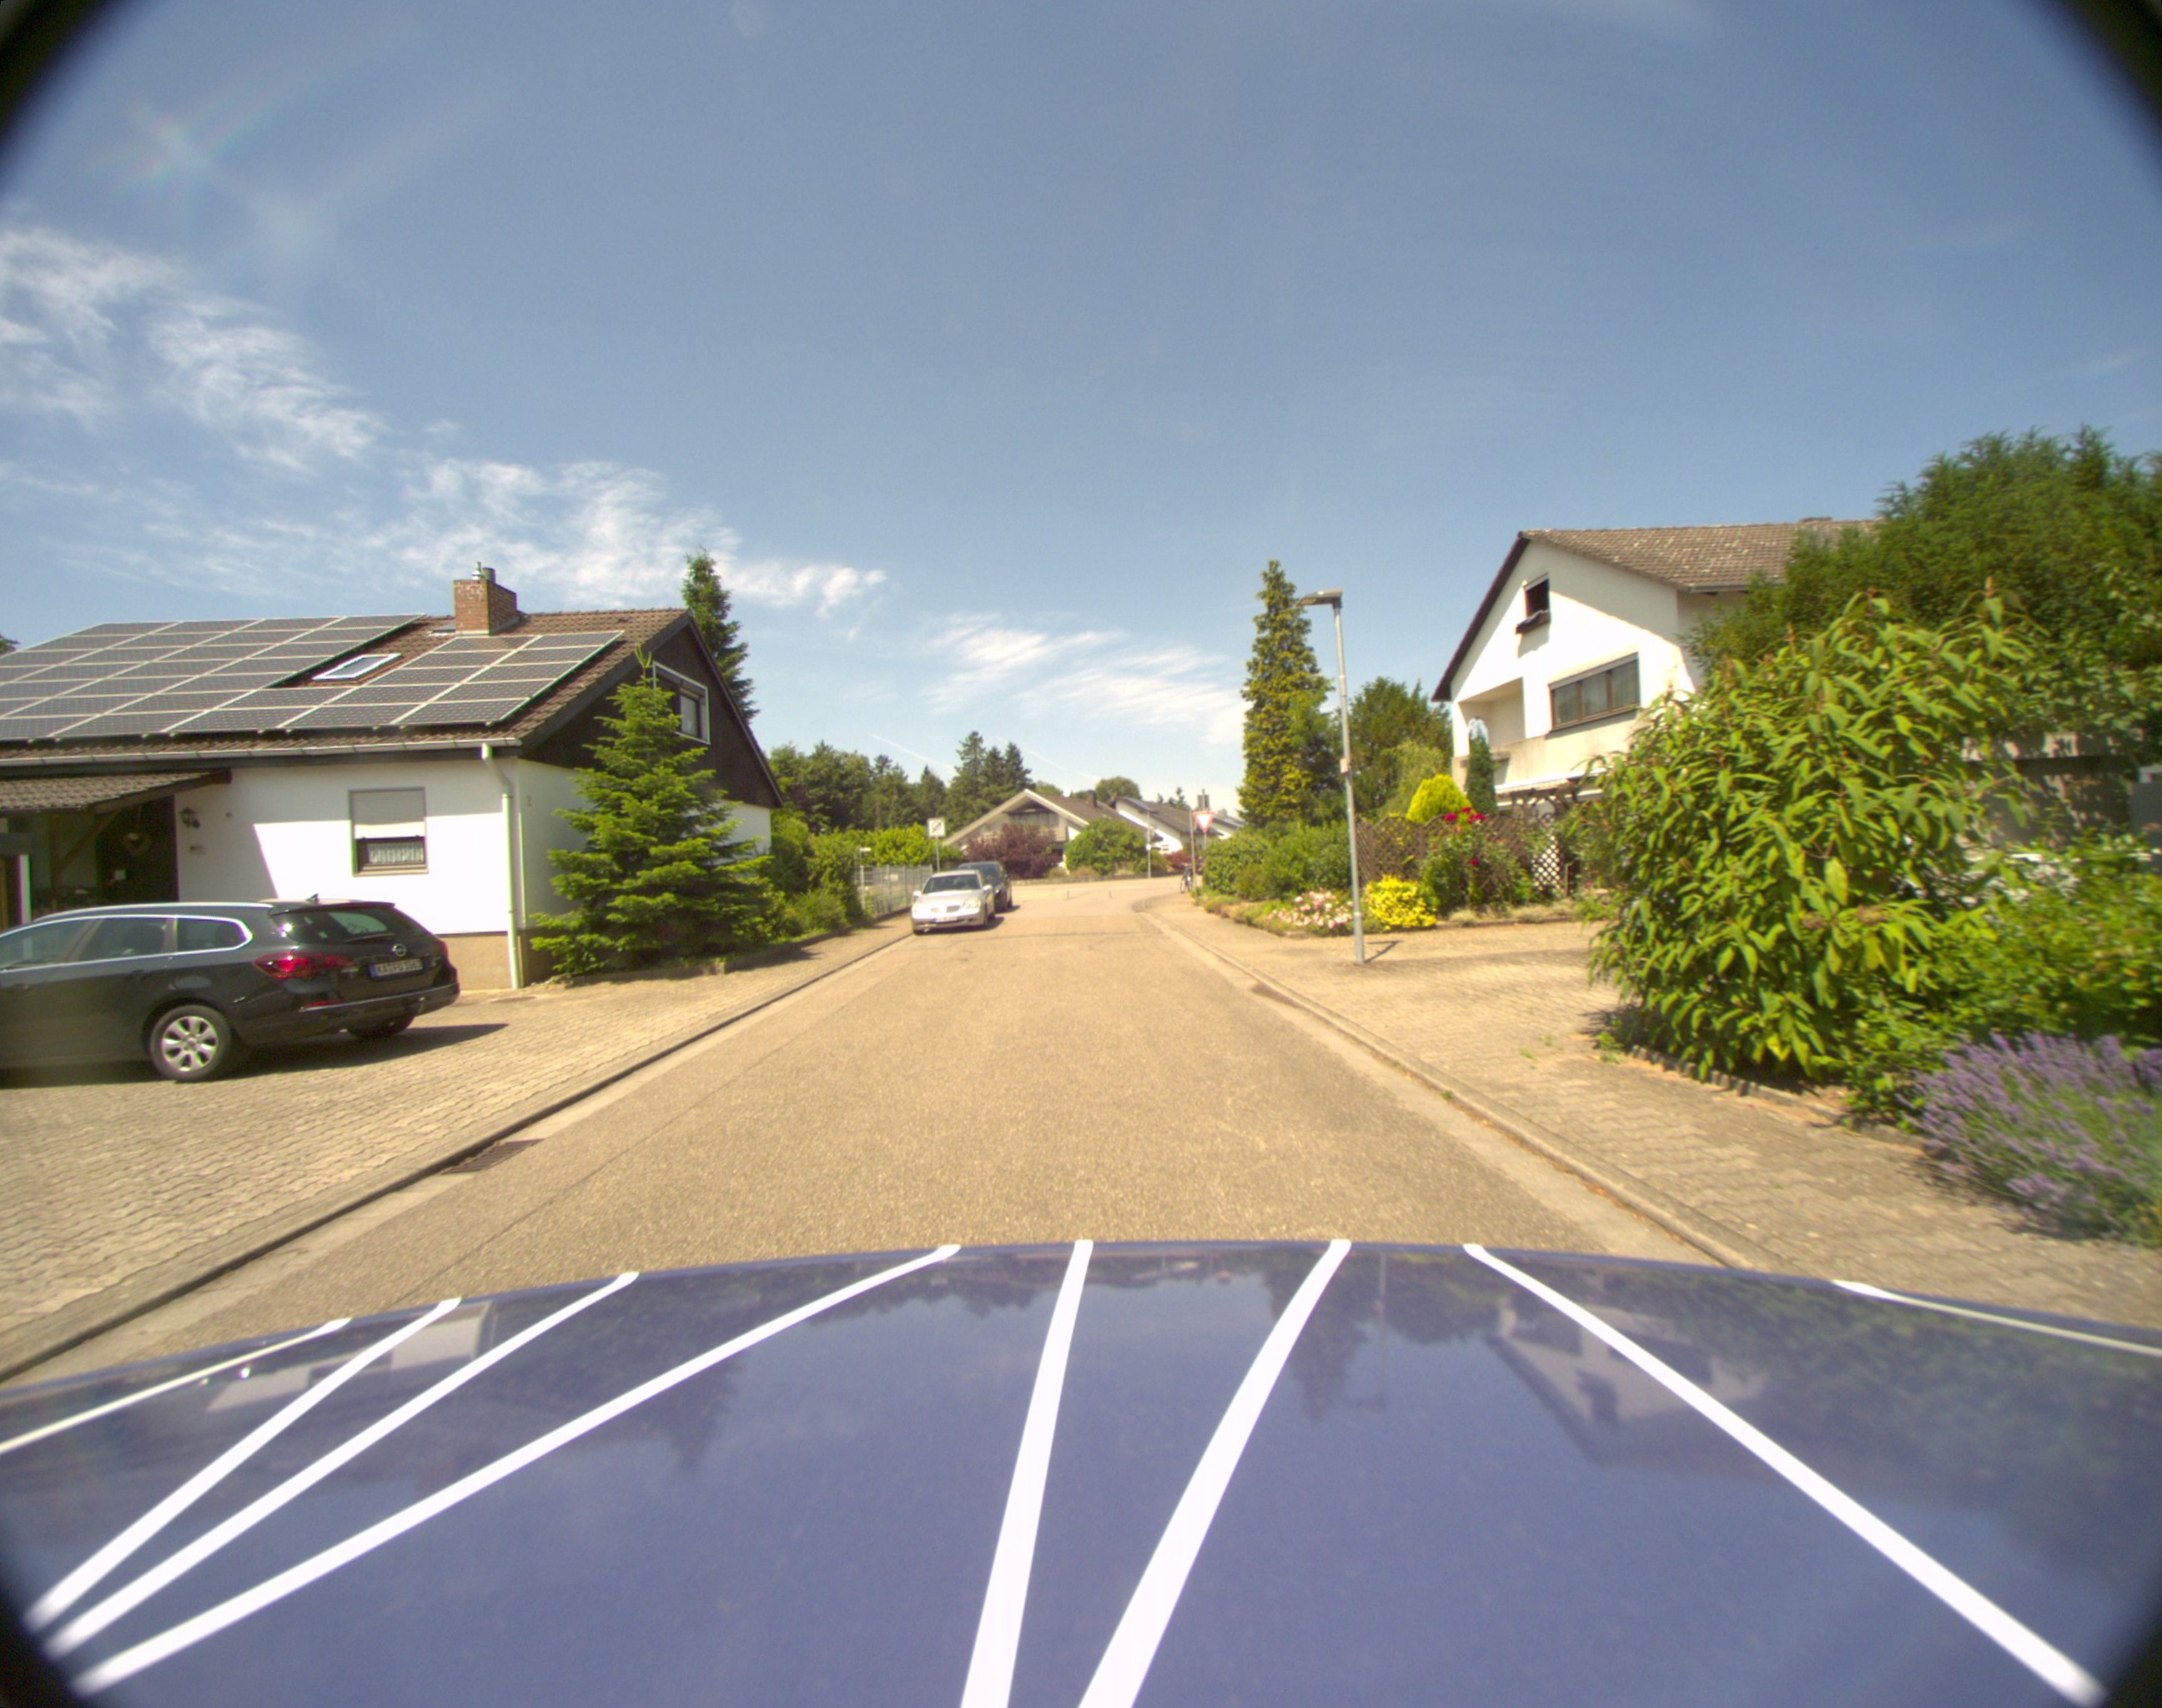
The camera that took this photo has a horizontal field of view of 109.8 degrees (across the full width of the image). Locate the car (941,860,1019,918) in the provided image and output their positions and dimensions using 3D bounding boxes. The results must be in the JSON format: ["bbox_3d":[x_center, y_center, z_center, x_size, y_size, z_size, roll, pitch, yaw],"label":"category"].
[{"bbox_3d":[-3.244,1.070,25.277,1.968,1.652,4.682,-3,0,-1],"label":"car"}]

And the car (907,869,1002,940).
[{"bbox_3d":[-3.067,1.170,19.247,1.691,1.451,4.336,-3,0,-1],"label":"car"}]

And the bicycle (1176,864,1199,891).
[{"bbox_3d":[3.993,0.867,28.485,0.442,0.958,1.851,-3,0,20],"label":"bicycle"}]

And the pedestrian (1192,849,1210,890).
[{"bbox_3d":[4.472,0.569,28.325,0.503,1.492,0.613,-3,0,18],"label":"pedestrian"}]

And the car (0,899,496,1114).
[{"bbox_3d":[-8.322,1.306,6.978,4.252,1.477,2.000,-3,0,-2],"label":"car"}]
